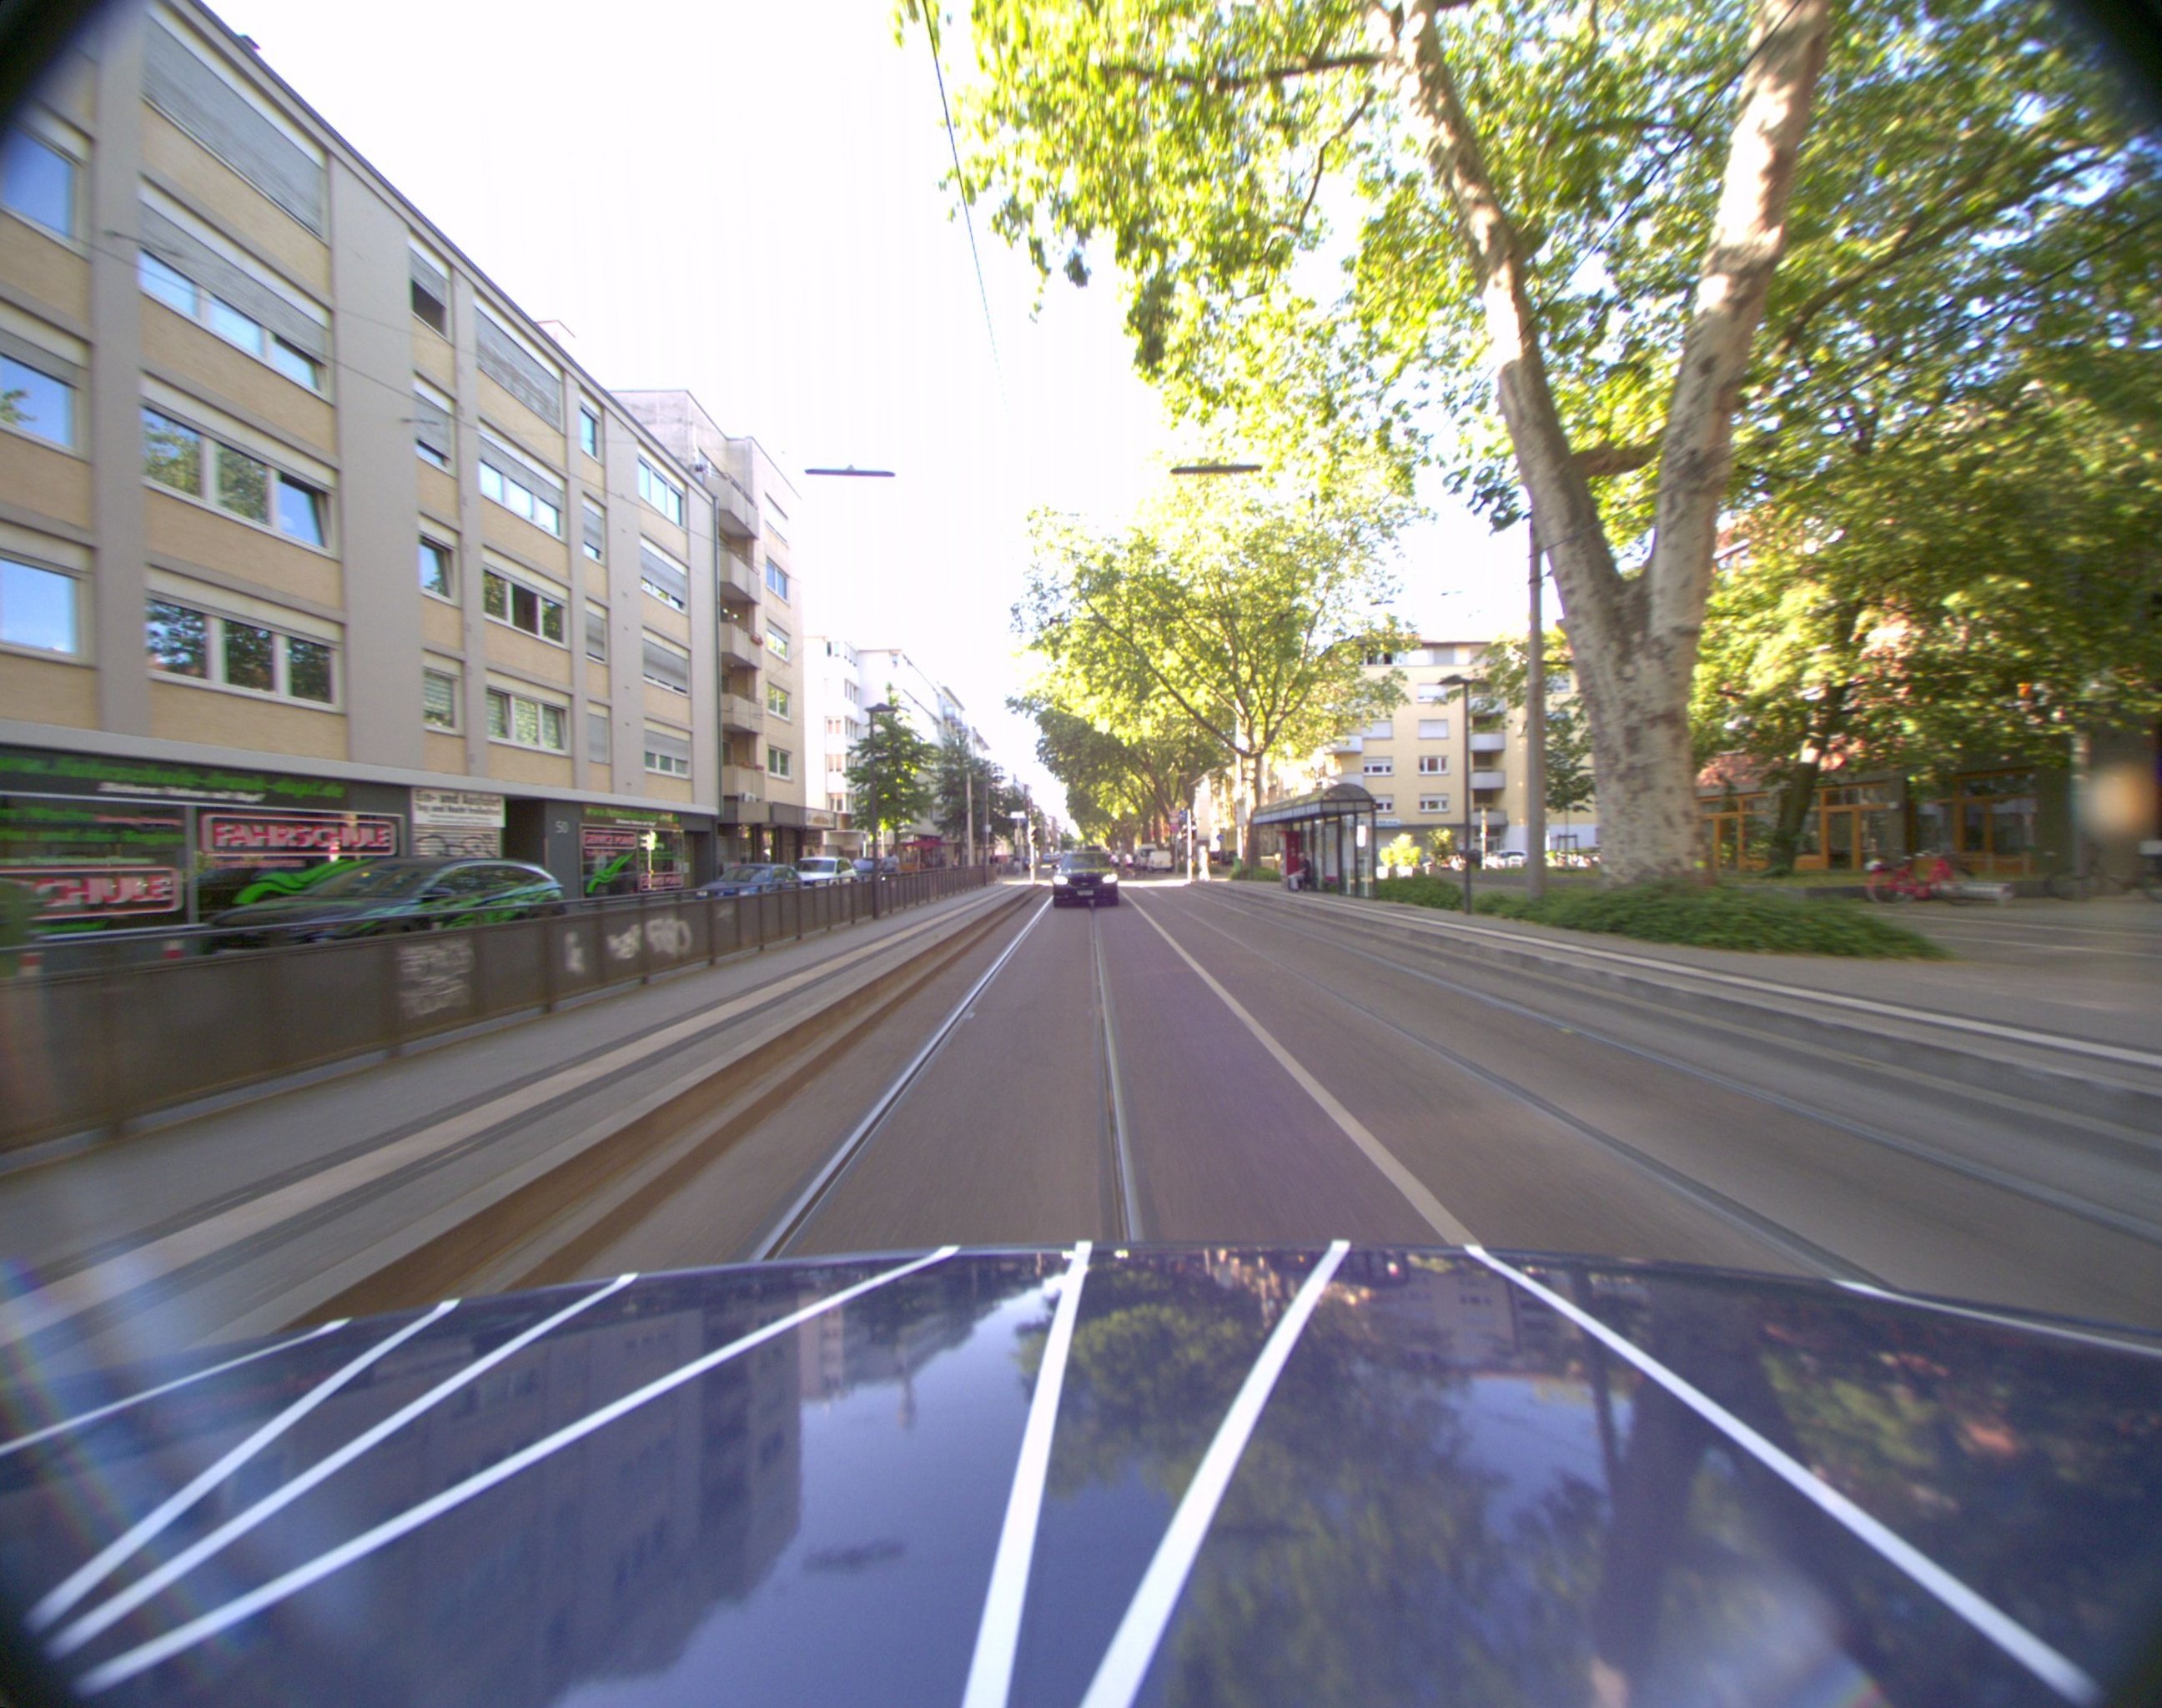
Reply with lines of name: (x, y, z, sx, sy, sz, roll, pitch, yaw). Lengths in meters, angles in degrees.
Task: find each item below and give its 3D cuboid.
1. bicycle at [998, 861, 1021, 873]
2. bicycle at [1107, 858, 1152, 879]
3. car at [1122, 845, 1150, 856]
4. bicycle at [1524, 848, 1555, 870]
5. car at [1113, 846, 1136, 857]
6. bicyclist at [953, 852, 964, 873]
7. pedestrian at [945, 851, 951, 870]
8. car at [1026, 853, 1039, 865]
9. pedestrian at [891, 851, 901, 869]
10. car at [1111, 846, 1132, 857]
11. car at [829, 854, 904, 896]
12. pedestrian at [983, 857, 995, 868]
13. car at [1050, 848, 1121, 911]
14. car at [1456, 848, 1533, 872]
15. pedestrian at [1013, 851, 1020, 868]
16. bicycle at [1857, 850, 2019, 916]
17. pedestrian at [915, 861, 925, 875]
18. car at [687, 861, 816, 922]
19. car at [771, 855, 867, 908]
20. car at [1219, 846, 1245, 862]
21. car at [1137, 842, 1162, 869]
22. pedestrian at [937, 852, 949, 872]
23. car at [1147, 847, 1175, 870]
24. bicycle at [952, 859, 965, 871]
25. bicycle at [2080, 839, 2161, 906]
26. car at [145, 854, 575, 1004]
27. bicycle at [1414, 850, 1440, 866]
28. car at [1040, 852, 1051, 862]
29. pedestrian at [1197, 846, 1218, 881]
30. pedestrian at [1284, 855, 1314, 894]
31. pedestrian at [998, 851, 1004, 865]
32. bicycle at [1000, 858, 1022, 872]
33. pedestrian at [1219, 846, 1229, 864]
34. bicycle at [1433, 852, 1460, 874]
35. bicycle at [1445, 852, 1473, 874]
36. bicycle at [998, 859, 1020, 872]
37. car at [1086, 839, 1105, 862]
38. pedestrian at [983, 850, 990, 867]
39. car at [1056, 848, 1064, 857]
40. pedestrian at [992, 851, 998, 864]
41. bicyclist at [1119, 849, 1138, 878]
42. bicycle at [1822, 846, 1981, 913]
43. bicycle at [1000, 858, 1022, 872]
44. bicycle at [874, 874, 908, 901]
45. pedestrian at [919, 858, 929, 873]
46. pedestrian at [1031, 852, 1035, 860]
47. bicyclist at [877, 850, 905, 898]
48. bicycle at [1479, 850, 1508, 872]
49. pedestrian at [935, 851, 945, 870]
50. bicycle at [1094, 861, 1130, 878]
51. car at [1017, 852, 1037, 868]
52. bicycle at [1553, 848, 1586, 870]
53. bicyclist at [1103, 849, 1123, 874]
bicycle: (-5.895, 1.070, 62.597, 1.820, 0.988, 0.481, -2, 1, -2)
bicycle: (2.996, 0.910, 47.042, 2.591, 1.184, 0.786, -2, 1, 17)
car: (10.914, -0.638, 151.199, 5.135, 1.984, 1.999, -2, 1, -4)
bicycle: (23.329, 0.270, 38.693, 0.543, 1.078, 1.638, -1, 0, -1)
car: (9.176, -0.557, 159.927, 4.661, 2.293, 2.000, -2, 1, 0)
bicyclist: (-10.206, 0.711, 63.356, 0.678, 1.707, 0.965, -2, 1, 3)
pedestrian: (-12.507, 0.605, 71.549, 0.432, 1.786, 0.489, -2, 1, -1)
car: (-6.231, 0.648, 98.168, 1.448, 1.528, 2.881, 1, 0, 0)
pedestrian: (-13.925, 0.446, 57.218, 0.536, 1.280, 0.715, -2, 1, 2)
car: (9.228, -0.593, 174.449, 4.661, 2.518, 2.000, -2, 1, 0)
car: (-9.475, 0.875, 33.927, 1.998, 1.606, 4.444, -2, 1, 1)
pedestrian: (-8.780, 0.817, 72.649, 0.662, 1.021, 0.999, -3, 1, -41)
car: (0.162, 0.721, 24.148, 1.998, 1.723, 4.399, -2, 1, 1)
car: (27.069, 0.374, 49.825, 3.997, 1.368, 2.000, -2, 1, -1)
pedestrian: (-7.103, 0.579, 83.577, 0.540, 1.841, 0.663, -2, 1, -20)
bicycle: (16.681, 0.559, 14.828, 2.346, 1.159, 0.682, -3, 1, 1)
pedestrian: (-12.505, 1.079, 59.053, 0.643, 1.072, 0.521, -2, 1, -2)
car: (-9.303, 0.994, 21.867, 1.748, 1.432, 4.246, -2, 1, 1)
car: (-9.184, 0.902, 27.048, 1.804, 1.596, 4.414, -2, 1, 1)
car: (17.089, -0.051, 86.073, 1.998, 1.723, 4.897, -2, 1, 1)
car: (6.795, 0.105, 75.721, 2.113, 2.562, 6.024, -2, 1, 2)
pedestrian: (-11.637, 0.636, 63.968, 0.813, 1.649, 0.679, -2, 1, 6)
car: (6.805, 0.368, 64.895, 1.768, 1.840, 4.317, -2, 1, -1)
bicycle: (-10.200, 0.925, 63.275, 0.678, 0.957, 2.022, -2, 1, 3)
bicycle: (20.064, 0.345, 14.257, 1.496, 1.212, 0.683, -1, 1, 42)
car: (-9.714, 0.857, 10.898, 1.862, 1.606, 4.397, -2, 1, 1)
bicycle: (25.197, 0.304, 55.389, 1.637, 1.078, 0.543, -1, 0, 1)
car: (-7.327, 0.697, 157.093, 1.958, 1.914, 3.999, -2, 1, 1)
pedestrian: (6.828, 0.490, 41.067, 0.926, 1.825, 0.920, -2, 1, -3)
pedestrian: (6.715, 0.619, 23.394, 0.707, 1.162, 0.659, 0, 1, -3)
pedestrian: (-10.013, 0.500, 95.477, 0.643, 1.628, 0.869, 1, 1, -1)
bicycle: (-5.856, 0.880, 63.515, 1.821, 1.094, 0.497, -2, 1, -8)
pedestrian: (15.313, 0.067, 81.397, 0.746, 1.859, 0.863, -2, 1, -2)
bicycle: (18.680, 0.487, 38.854, 0.543, 1.077, 1.537, -2, -2, -1)
bicycle: (19.308, 0.455, 38.856, 0.543, 1.077, 1.639, -2, -2, -1)
bicycle: (-6.145, 0.993, 65.026, 1.820, 1.094, 0.525, -1, 1, 0)
car: (1.775, -0.462, 93.489, 2.119, 2.722, 6.113, 0, 1, -1)
pedestrian: (-10.191, 0.479, 81.962, 0.592, 1.774, 0.994, -1, 1, -6)
car: (-5.777, -0.413, 207.175, 1.991, 2.085, 4.470, -2, 1, 1)
pedestrian: (-10.782, 0.467, 95.433, 0.597, 1.668, 0.934, 1, 1, -2)
bicyclist: (2.948, 0.560, 47.039, 0.949, 1.753, 0.786, -2, 1, 17)
bicycle: (16.798, 0.505, 15.591, 2.464, 1.212, 0.682, -3, 1, 1)
bicycle: (-5.935, 0.932, 64.149, 1.821, 1.094, 0.481, -2, 1, -8)
bicycle: (-7.431, 1.293, 29.835, 0.790, 0.932, 1.939, -2, 1, 1)
pedestrian: (-12.625, 0.907, 61.276, 0.660, 1.168, 0.521, -2, 1, -2)
pedestrian: (-10.177, 0.365, 161.569, 0.697, 1.685, 0.678, -2, 1, 0)
bicyclist: (-7.453, 0.759, 29.843, 0.769, 1.821, 1.099, -2, 1, 1)
bicycle: (21.003, 0.370, 38.697, 0.543, 1.077, 1.639, -2, -1, -1)
pedestrian: (-13.044, 0.589, 70.461, 0.525, 1.795, 0.633, -1, 2, 43)
bicycle: (1.971, 1.006, 48.513, 2.208, 1.064, 0.683, -1, 1, 30)
car: (-5.894, 0.661, 83.045, 1.763, 1.578, 4.328, 2, 1, 0)
bicycle: (24.765, 0.224, 38.539, 0.543, 1.078, 1.638, -2, 1, -1)
bicyclist: (2.044, 0.486, 48.449, 0.991, 1.539, 0.683, -1, 1, 30)
